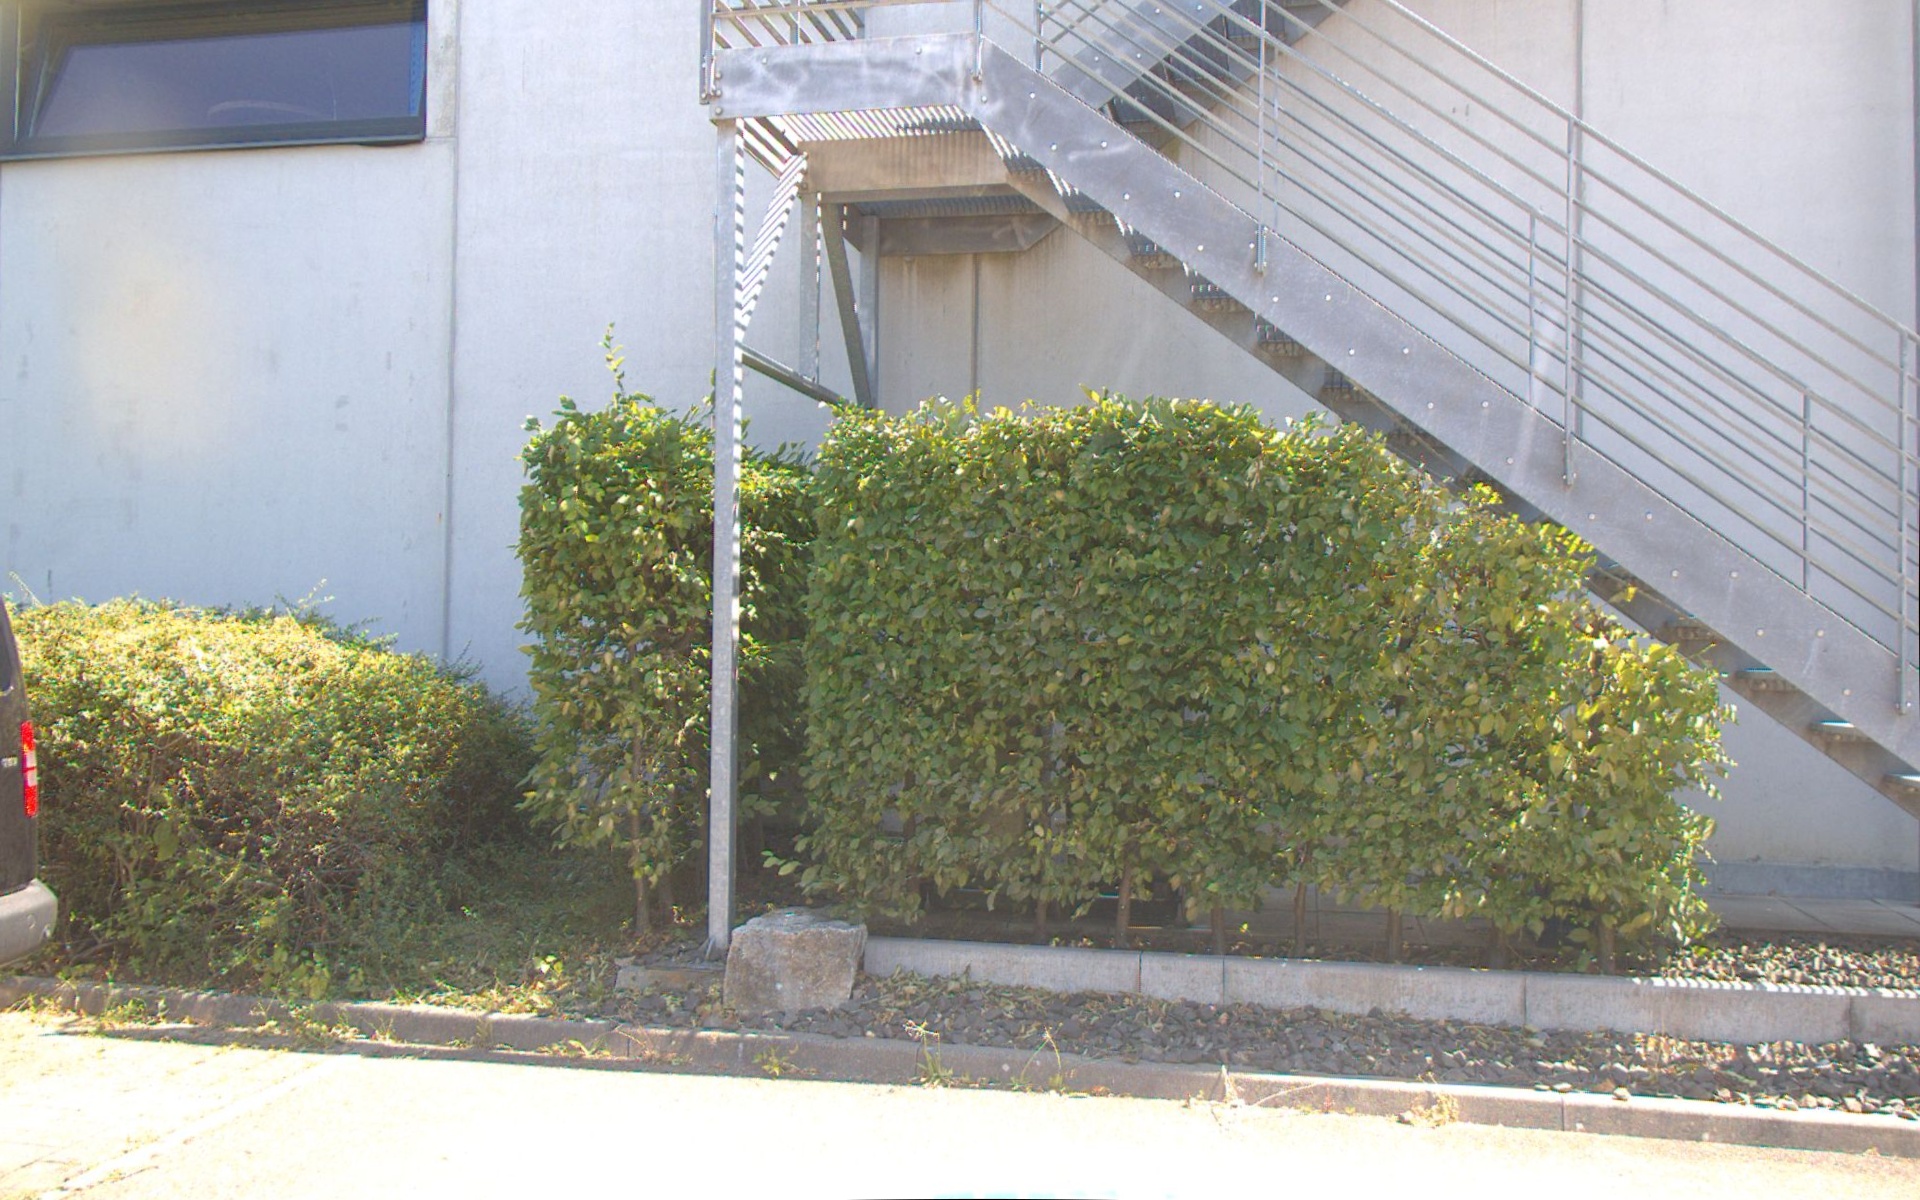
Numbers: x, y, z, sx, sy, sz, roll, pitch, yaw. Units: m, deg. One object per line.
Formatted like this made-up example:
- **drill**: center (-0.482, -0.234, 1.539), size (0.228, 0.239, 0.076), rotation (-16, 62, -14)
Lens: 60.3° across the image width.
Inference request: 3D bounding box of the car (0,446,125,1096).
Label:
- **car**: center (-4.838, 0.488, 4.970), size (3.971, 1.917, 1.680), rotation (0, 0, 12)
